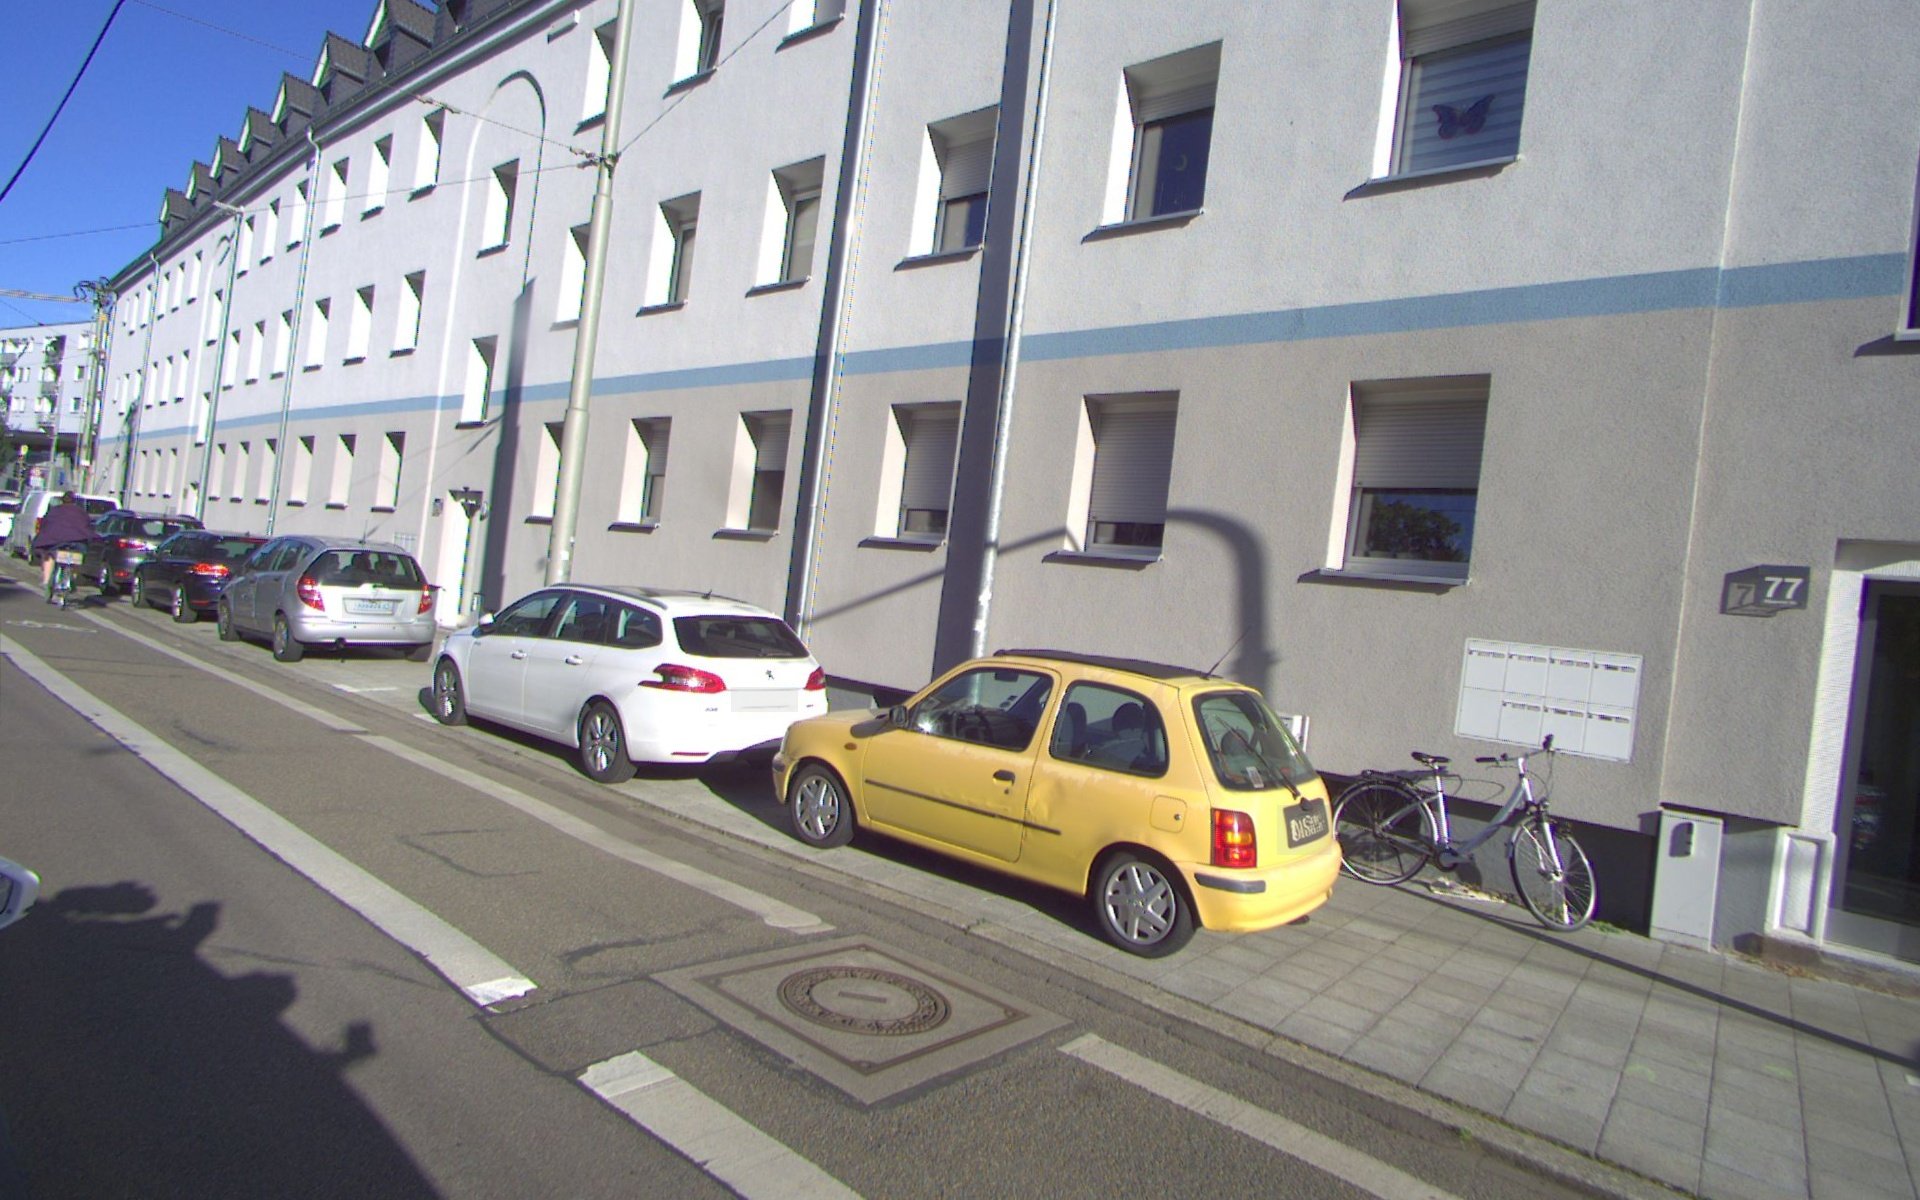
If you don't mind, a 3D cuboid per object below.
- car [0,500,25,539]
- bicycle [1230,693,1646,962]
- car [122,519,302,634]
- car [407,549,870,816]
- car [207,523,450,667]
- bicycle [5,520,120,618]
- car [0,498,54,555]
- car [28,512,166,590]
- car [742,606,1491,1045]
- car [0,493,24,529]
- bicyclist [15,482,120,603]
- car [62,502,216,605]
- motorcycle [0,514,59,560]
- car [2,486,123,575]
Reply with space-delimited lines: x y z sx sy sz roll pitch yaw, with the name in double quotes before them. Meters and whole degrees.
"car" -45.045 -3.875 46.686 3.908 1.665 1.843 6 -1 40
"bicycle" 3.220 1.418 6.893 2.292 1.212 1.096 7 -1 38
"car" -12.753 -0.434 17.064 3.951 1.557 1.588 6 1 41
"car" -3.040 0.555 8.951 4.444 1.591 1.678 7 1 39
"car" -8.840 -0.116 13.964 3.848 1.592 1.750 7 2 41
"bicycle" -14.025 -0.507 15.696 2.426 1.251 0.821 7 -2 39
"car" -32.316 -2.579 34.008 4.484 1.665 1.843 6 -1 40
"car" -20.317 -1.174 23.647 3.725 1.501 1.794 5 -2 40
"car" 0.673 1.002 6.051 4.139 1.448 1.512 7 0 39
"car" -52.026 -4.923 54.109 4.484 1.777 1.842 6 -1 40
"bicyclist" -13.866 -0.891 15.638 0.955 1.696 0.934 7 0 38
"car" -16.646 -0.966 20.336 3.848 1.691 1.658 7 1 40
"motorcycle" -28.121 -1.894 30.104 1.738 1.158 0.492 7 0 -1
"car" -23.923 -1.871 26.776 4.095 1.995 1.784 7 1 41
